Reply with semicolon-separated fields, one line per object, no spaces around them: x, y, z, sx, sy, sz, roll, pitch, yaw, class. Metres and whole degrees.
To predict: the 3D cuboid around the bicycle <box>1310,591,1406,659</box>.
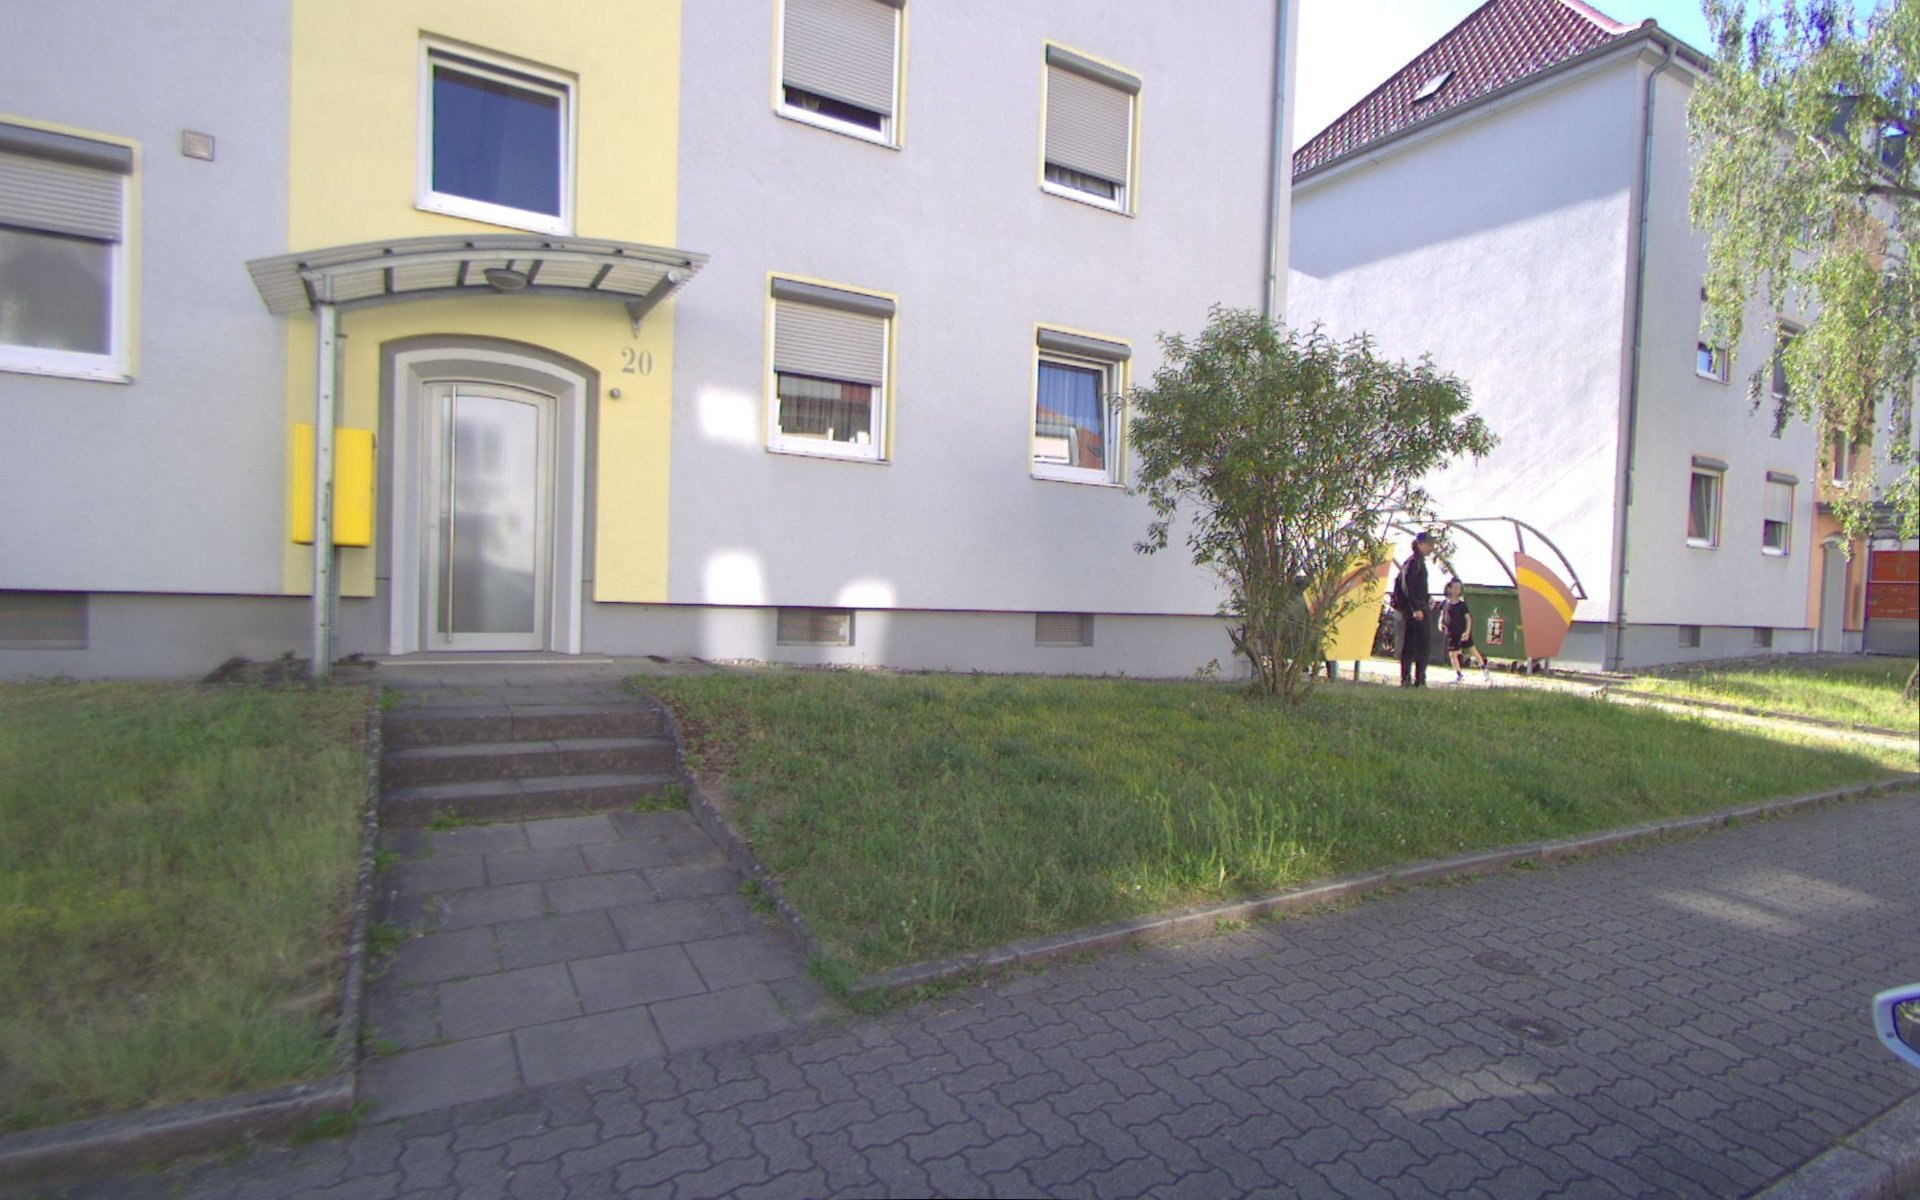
7.035;0.437;17.738;1.828;1.132;0.529;1;2;-31;bicycle

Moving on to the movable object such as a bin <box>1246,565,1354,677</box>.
4.597;0.263;13.627;0.803;1.425;1.079;1;2;-29;movable object such as a bin

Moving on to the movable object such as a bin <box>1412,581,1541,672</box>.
8.406;0.410;16.378;1.214;1.354;1.380;1;3;-30;movable object such as a bin

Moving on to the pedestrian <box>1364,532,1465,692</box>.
5.481;0.144;12.139;0.709;1.848;0.802;1;1;-29;pedestrian

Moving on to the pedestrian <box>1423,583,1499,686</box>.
6.751;0.451;13.542;0.569;1.334;0.683;1;1;-29;pedestrian
